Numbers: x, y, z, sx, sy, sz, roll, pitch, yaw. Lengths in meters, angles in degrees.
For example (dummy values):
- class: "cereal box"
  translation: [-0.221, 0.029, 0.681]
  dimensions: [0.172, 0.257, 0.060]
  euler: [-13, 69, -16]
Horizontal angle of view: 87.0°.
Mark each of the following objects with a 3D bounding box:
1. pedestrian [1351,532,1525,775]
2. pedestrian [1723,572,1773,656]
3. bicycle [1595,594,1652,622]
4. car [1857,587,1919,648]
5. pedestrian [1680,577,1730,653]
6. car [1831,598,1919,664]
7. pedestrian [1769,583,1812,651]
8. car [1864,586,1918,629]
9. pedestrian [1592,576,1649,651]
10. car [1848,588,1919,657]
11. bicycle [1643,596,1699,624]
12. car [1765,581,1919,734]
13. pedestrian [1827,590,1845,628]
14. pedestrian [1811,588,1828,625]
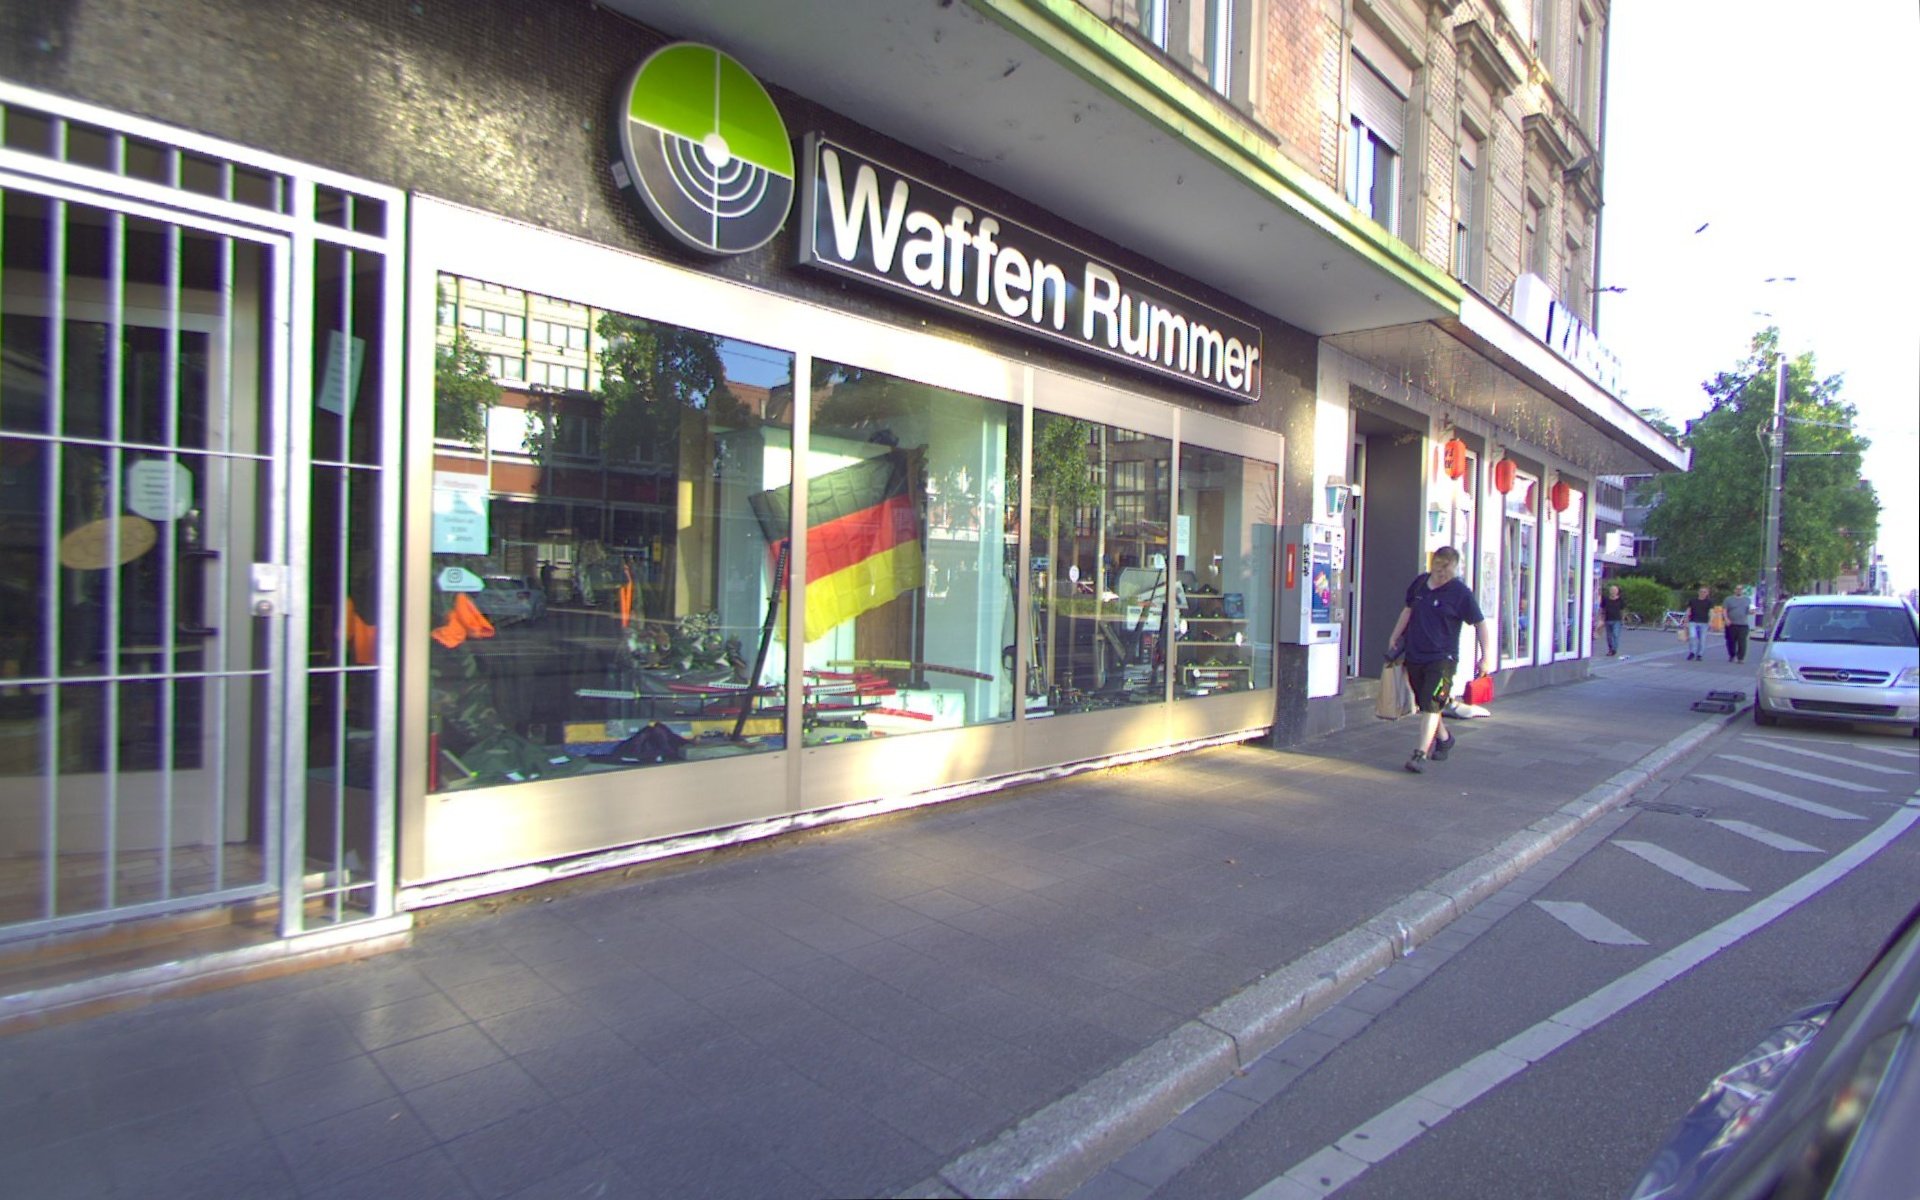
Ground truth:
- class: "pedestrian"
  translation: [3.903, 0.381, 8.255]
  dimensions: [0.946, 1.814, 1.038]
  euler: [4, 2, 43]
- class: "pedestrian"
  translation: [18.872, 0.316, 24.219]
  dimensions: [0.794, 1.922, 1.017]
  euler: [3, 2, 43]
- class: "bicycle"
  translation: [28.666, 0.334, 43.741]
  dimensions: [2.010, 1.109, 0.629]
  euler: [4, 2, 38]
- class: "car"
  translation: [29.566, 0.511, 32.032]
  dimensions: [1.675, 1.831, 4.182]
  euler: [1, 0, 43]
- class: "pedestrian"
  translation: [18.016, 0.352, 24.462]
  dimensions: [0.811, 1.778, 1.017]
  euler: [3, 2, 43]
- class: "car"
  translation: [22.581, 0.707, 24.908]
  dimensions: [1.636, 1.511, 3.737]
  euler: [-1, -1, 42]
- class: "pedestrian"
  translation: [22.178, 0.430, 27.012]
  dimensions: [0.787, 1.759, 0.931]
  euler: [2, 1, 43]
- class: "car"
  translation: [45.999, 0.352, 49.961]
  dimensions: [1.877, 2.047, 4.827]
  euler: [1, 0, 44]
- class: "pedestrian"
  translation: [16.146, 0.315, 24.746]
  dimensions: [0.901, 1.734, 1.017]
  euler: [5, 3, 43]
- class: "car"
  translation: [26.400, 0.566, 28.581]
  dimensions: [1.820, 1.779, 4.405]
  euler: [1, 1, 43]
- class: "bicycle"
  translation: [30.400, 0.416, 43.292]
  dimensions: [1.881, 1.109, 0.462]
  euler: [3, 2, 43]
- class: "car"
  translation: [11.302, 0.609, 12.694]
  dimensions: [1.637, 1.635, 3.885]
  euler: [1, 1, 42]
- class: "pedestrian"
  translation: [41.362, 0.428, 47.788]
  dimensions: [0.493, 1.734, 0.430]
  euler: [5, 3, 43]
- class: "pedestrian"
  translation: [40.968, 0.301, 48.226]
  dimensions: [0.493, 1.734, 0.430]
  euler: [5, 3, 43]
